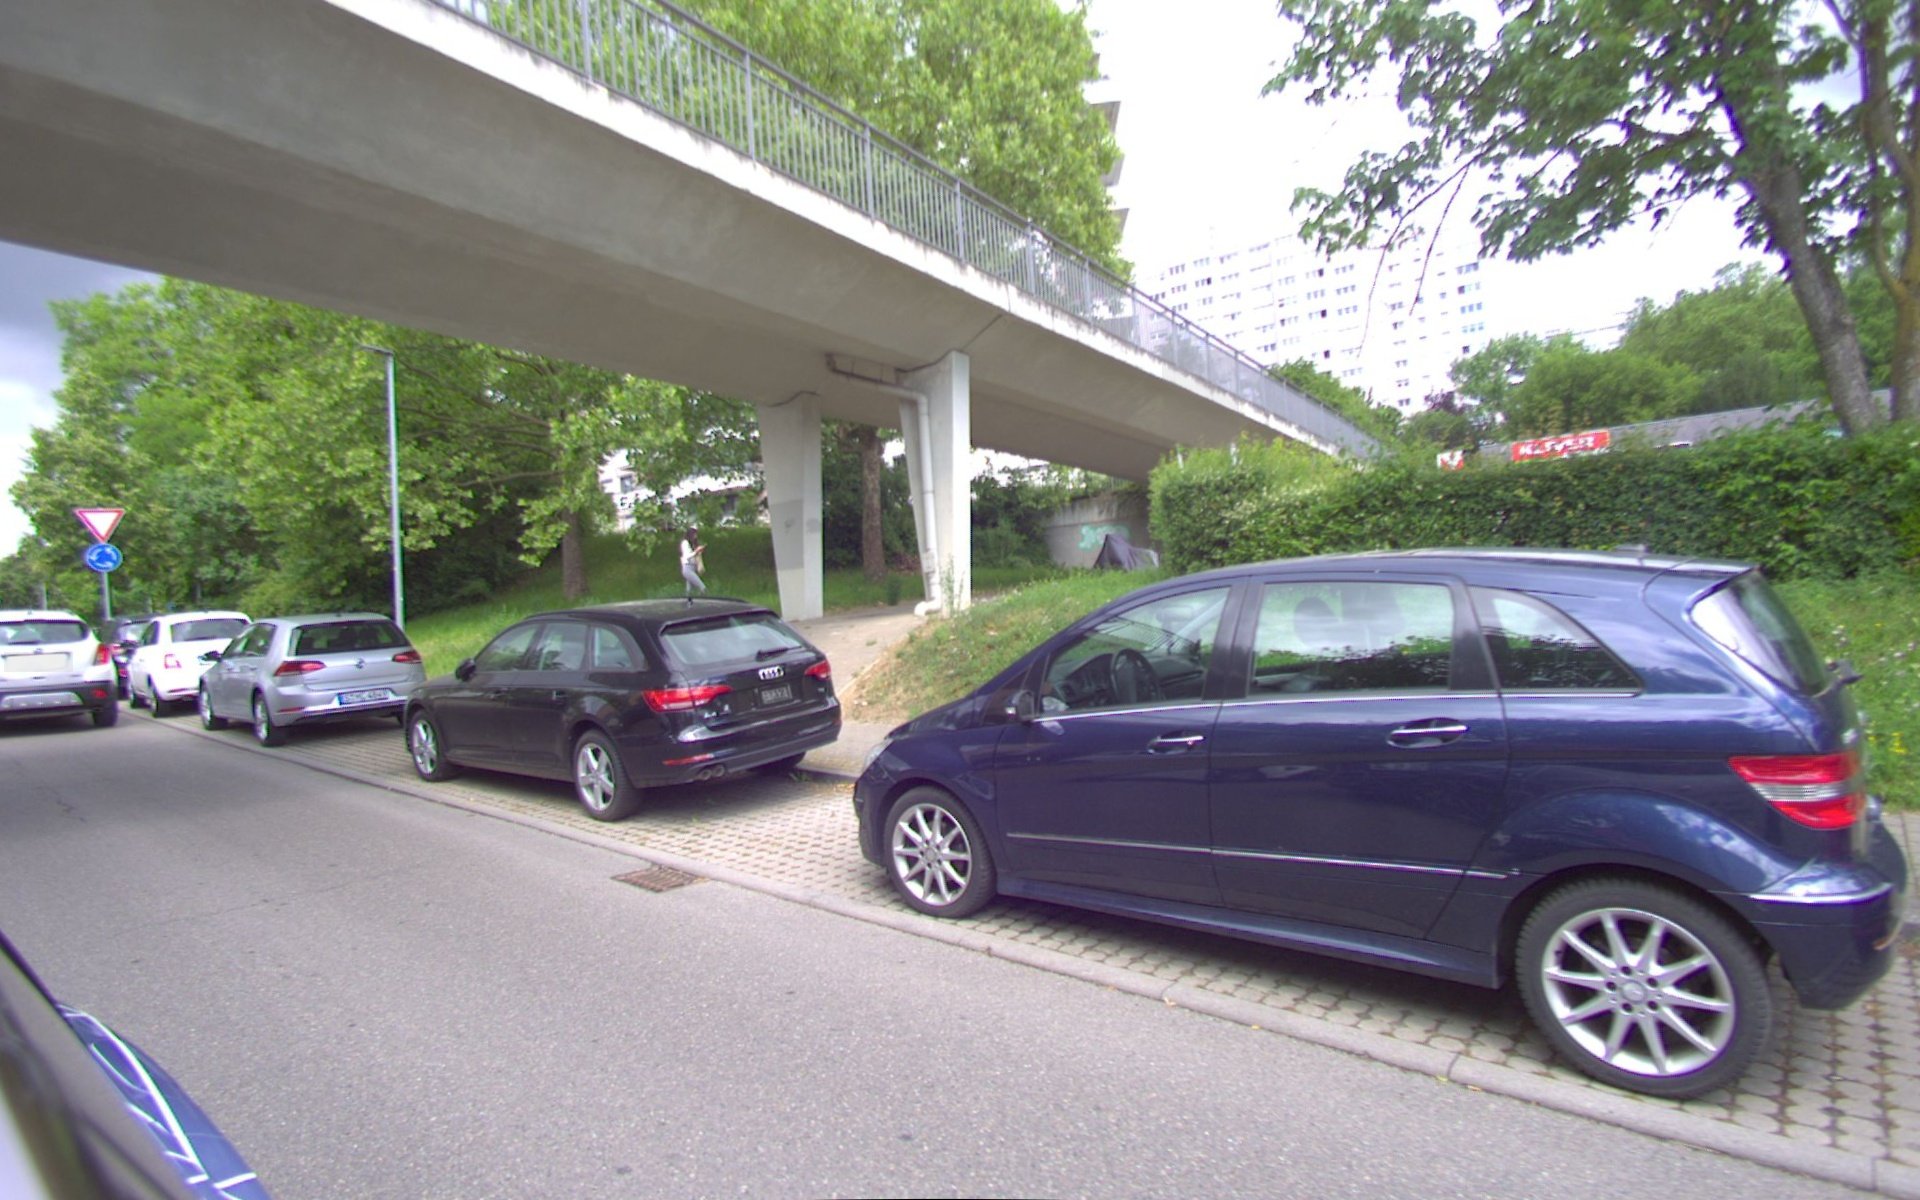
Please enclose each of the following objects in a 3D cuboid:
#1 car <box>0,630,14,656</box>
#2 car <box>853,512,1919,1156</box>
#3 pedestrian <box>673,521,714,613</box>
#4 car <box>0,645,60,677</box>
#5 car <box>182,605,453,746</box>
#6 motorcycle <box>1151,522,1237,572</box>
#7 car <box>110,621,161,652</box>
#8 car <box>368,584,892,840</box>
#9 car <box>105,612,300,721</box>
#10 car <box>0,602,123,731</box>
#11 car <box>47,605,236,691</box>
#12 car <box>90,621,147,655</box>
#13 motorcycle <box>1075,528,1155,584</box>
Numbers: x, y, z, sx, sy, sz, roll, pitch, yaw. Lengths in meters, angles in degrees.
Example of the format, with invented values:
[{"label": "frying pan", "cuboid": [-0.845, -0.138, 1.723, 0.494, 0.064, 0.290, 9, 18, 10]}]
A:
[{"label": "car", "cuboid": [-63.128, 2.810, 64.646, 3.619, 1.659, 1.857, -1, -1, -30]}, {"label": "car", "cuboid": [1.588, 0.562, 4.296, 3.835, 1.570, 1.866, -2, 2, 40]}, {"label": "pedestrian", "cuboid": [-5.247, -0.634, 19.906, 0.649, 1.734, 0.741, -3, 0, -17]}, {"label": "car", "cuboid": [-53.848, 3.489, 58.505, 1.730, 1.628, 4.013, -3, 0, -27]}, {"label": "car", "cuboid": [-8.285, 0.911, 12.906, 3.999, 1.438, 1.865, -4, 0, 42]}, {"label": "motorcycle", "cuboid": [6.966, -1.571, 30.203, 2.312, 1.280, 0.875, -4, 0, 37]}, {"label": "car", "cuboid": [-50.890, 2.261, 62.549, 1.783, 1.676, 4.449, -6, 1, -32]}, {"label": "car", "cuboid": [-2.858, 0.729, 8.282, 4.445, 1.520, 1.867, -2, 1, 38]}, {"label": "car", "cuboid": [-12.233, 0.964, 16.281, 3.546, 1.471, 1.864, 0, 1, 42]}, {"label": "car", "cuboid": [-13.563, 0.909, 14.468, 4.048, 1.623, 1.730, -2, -1, 39]}, {"label": "car", "cuboid": [-15.825, 0.886, 19.516, 3.990, 1.479, 1.771, -2, -1, 34]}, {"label": "car", "cuboid": [-47.614, 2.121, 57.323, 1.775, 1.627, 4.491, -6, 3, -32]}, {"label": "motorcycle", "cuboid": [3.950, -1.109, 25.962, 0.871, 1.280, 2.052, -3, 0, -31]}]
